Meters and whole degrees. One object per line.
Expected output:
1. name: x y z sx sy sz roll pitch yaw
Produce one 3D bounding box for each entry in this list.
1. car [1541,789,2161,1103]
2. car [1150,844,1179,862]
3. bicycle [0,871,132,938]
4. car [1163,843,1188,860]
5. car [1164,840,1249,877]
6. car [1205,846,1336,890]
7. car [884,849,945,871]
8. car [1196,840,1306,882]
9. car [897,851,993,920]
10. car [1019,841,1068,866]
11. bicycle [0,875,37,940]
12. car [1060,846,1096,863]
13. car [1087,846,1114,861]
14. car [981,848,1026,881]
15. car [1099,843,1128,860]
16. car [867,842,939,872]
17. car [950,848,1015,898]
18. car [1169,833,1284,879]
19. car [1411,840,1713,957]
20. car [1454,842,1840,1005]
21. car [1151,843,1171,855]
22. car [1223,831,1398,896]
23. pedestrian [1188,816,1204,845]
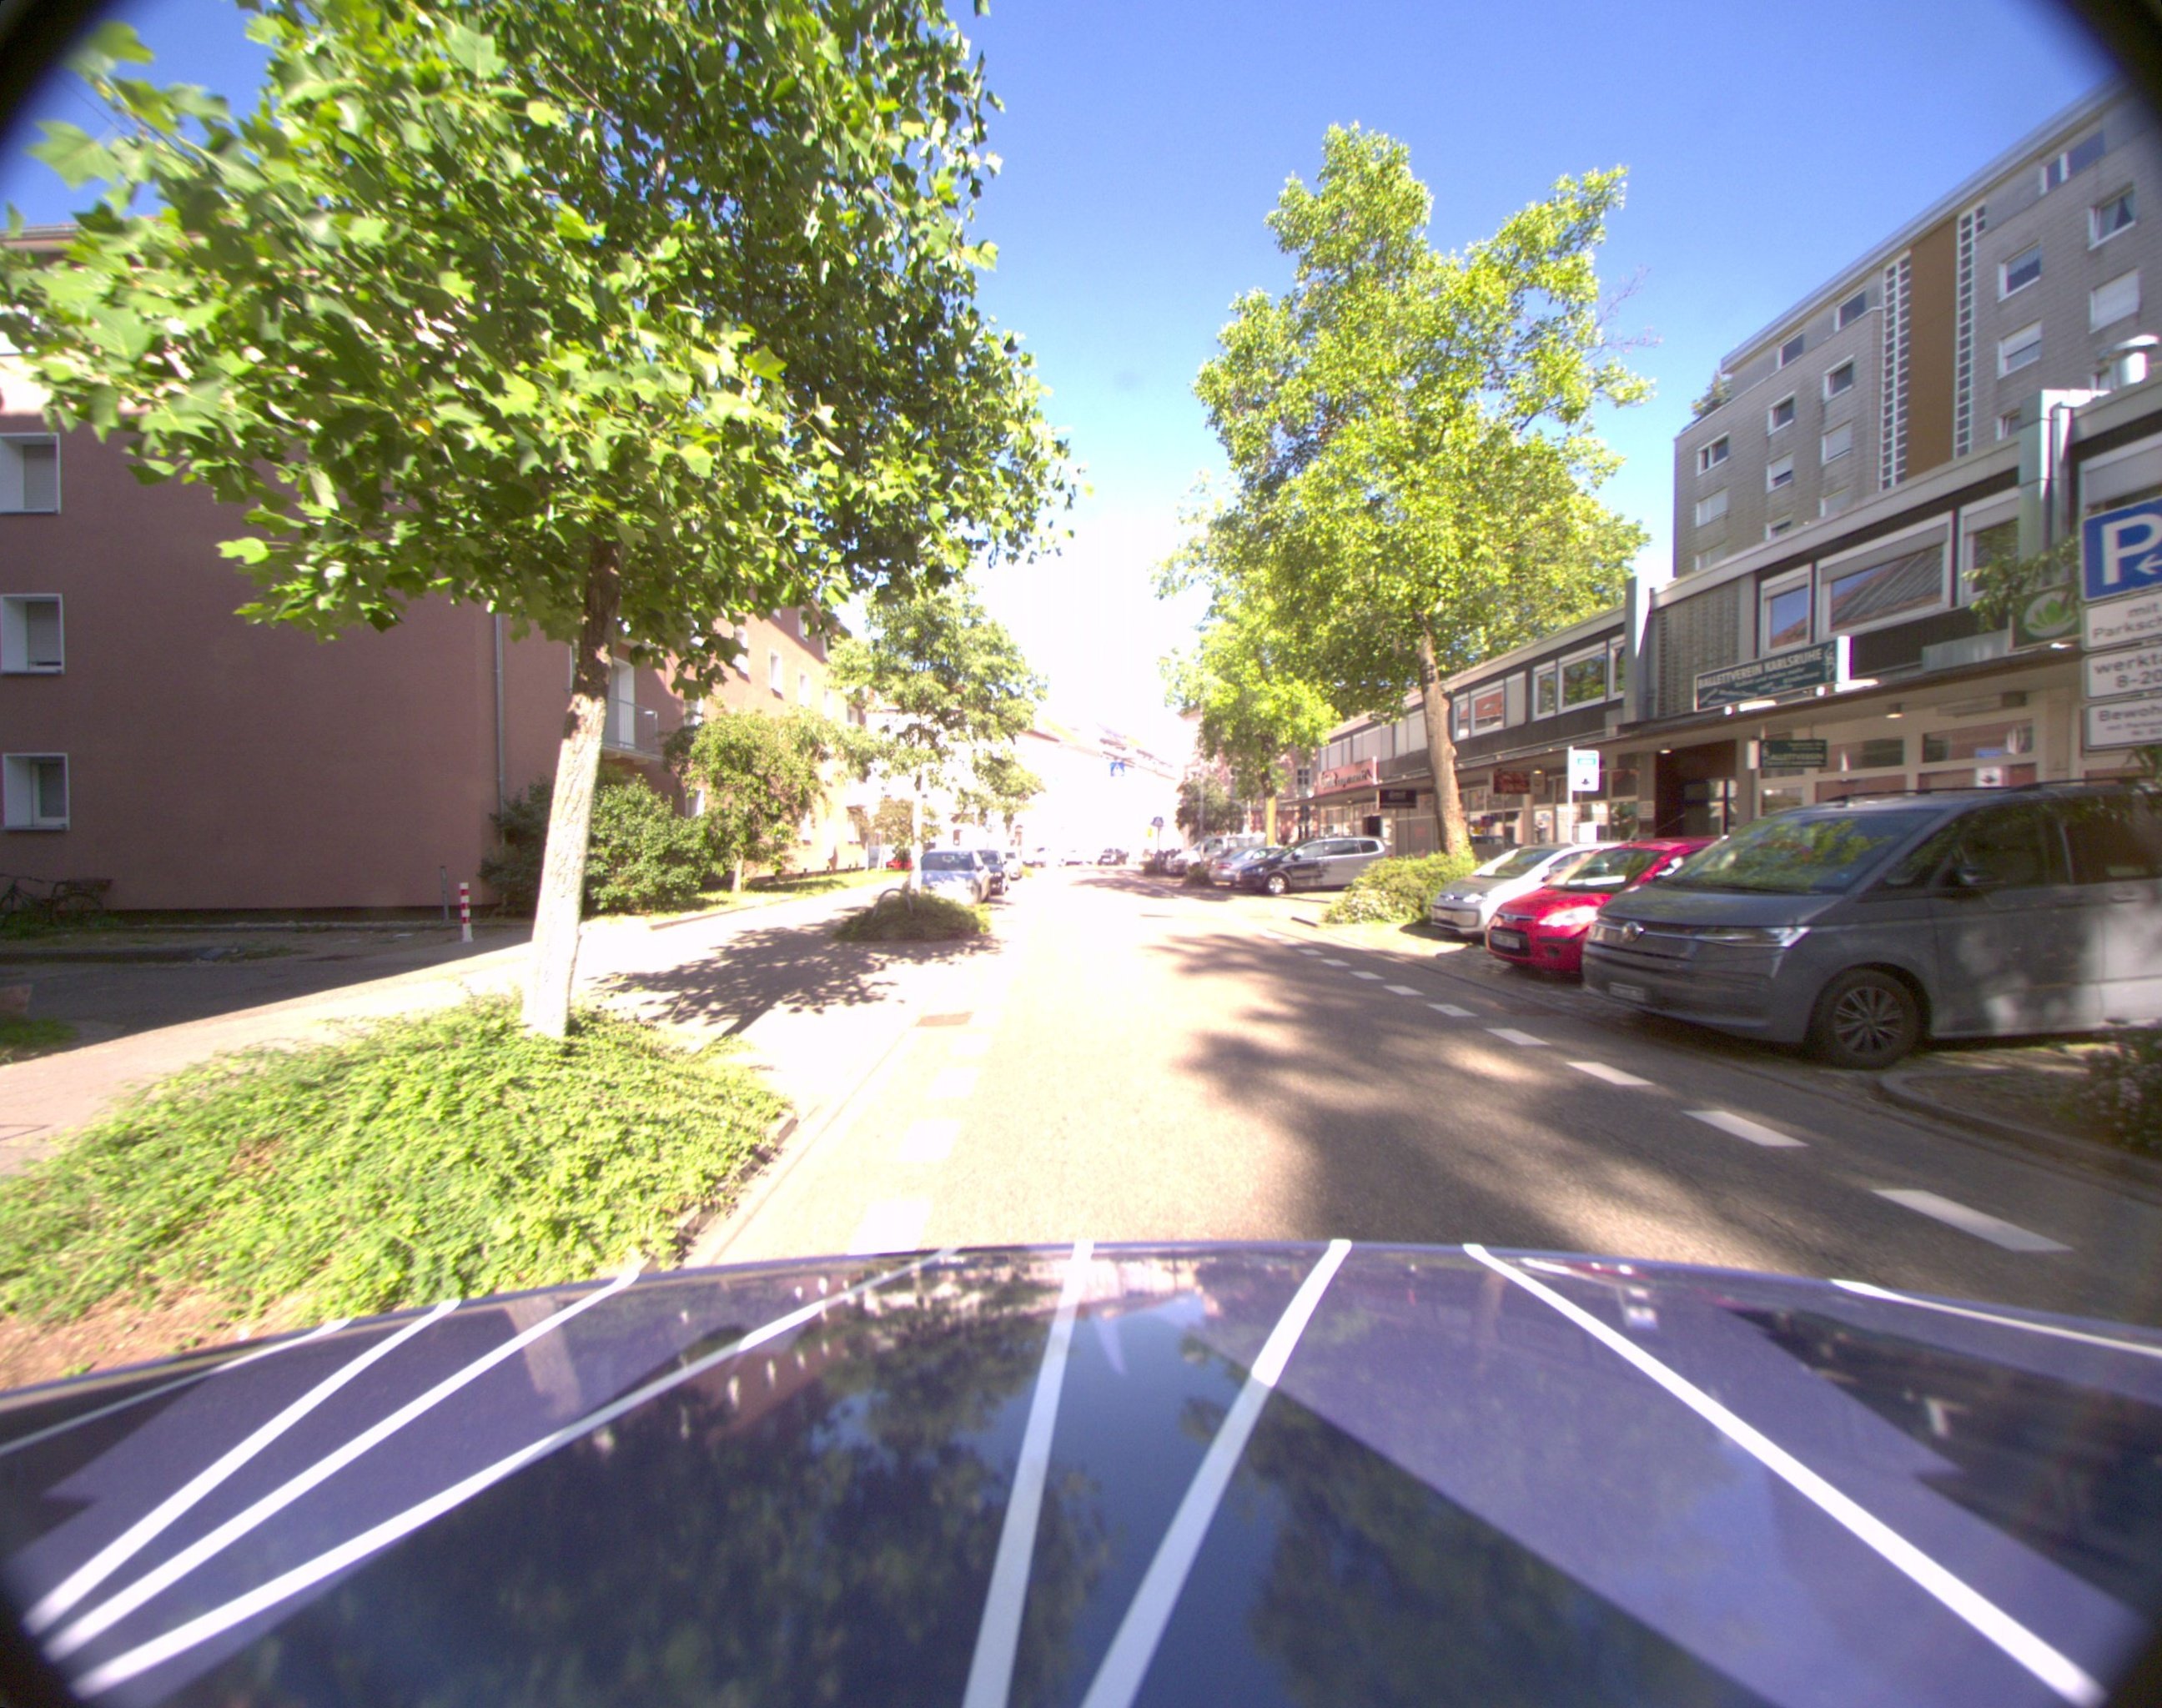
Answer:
1. car: 6.645 0.540 5.885 5.044 1.927 1.872 -2 1 -2
2. car: 7.944 -0.113 72.148 1.670 1.628 4.054 0 1 22
3. bicycle: -17.594 0.866 13.133 1.540 1.092 0.594 -1 1 -3
4. car: 9.603 -0.243 76.972 1.505 1.652 4.006 0 1 22
5. car: 6.300 0.198 38.401 3.998 1.781 1.757 -1 1 -3
6. car: 6.410 0.447 25.991 3.998 1.391 1.759 -1 1 -4
7. car: -10.746 0.372 49.243 3.648 1.394 1.567 -1 1 -2
8. car: 6.876 0.262 31.052 3.998 1.413 1.736 -4 1 -4
9. car: -3.219 0.685 18.684 1.720 1.446 3.998 0 1 -1
10. car: -2.927 -0.108 60.965 1.909 1.924 4.816 0 1 24
11. bicycle: -19.251 0.922 13.055 1.719 1.092 0.557 -1 1 -3
12. car: -0.235 0.030 69.201 2.131 1.487 3.950 0 1 17
13. car: 1.942 -0.044 75.895 1.632 1.413 3.299 0 1 21
14. car: -3.549 0.446 35.476 1.736 1.420 3.999 -1 1 -1
15. car: 2.905 -0.231 67.435 1.609 1.445 3.299 2 1 18
16. car: -12.701 0.194 54.498 4.757 2.002 1.998 -1 1 -6
17. car: -3.170 0.550 25.150 1.662 1.474 4.310 -1 1 -1
18. car: 6.794 0.077 35.840 4.996 1.958 1.909 -2 1 -4
19. car: 7.284 0.621 11.748 3.596 1.552 1.672 -2 1 -1
20. car: 6.516 0.697 8.896 3.570 1.546 1.660 -2 1 -12
21. car: 9.617 -0.575 90.955 1.632 1.413 3.298 0 1 21
22. car: 6.997 0.263 23.449 4.782 1.767 1.873 -2 1 -4
23. pedestrian: 6.427 -1.319 42.510 0.727 1.630 0.807 0 1 -2
